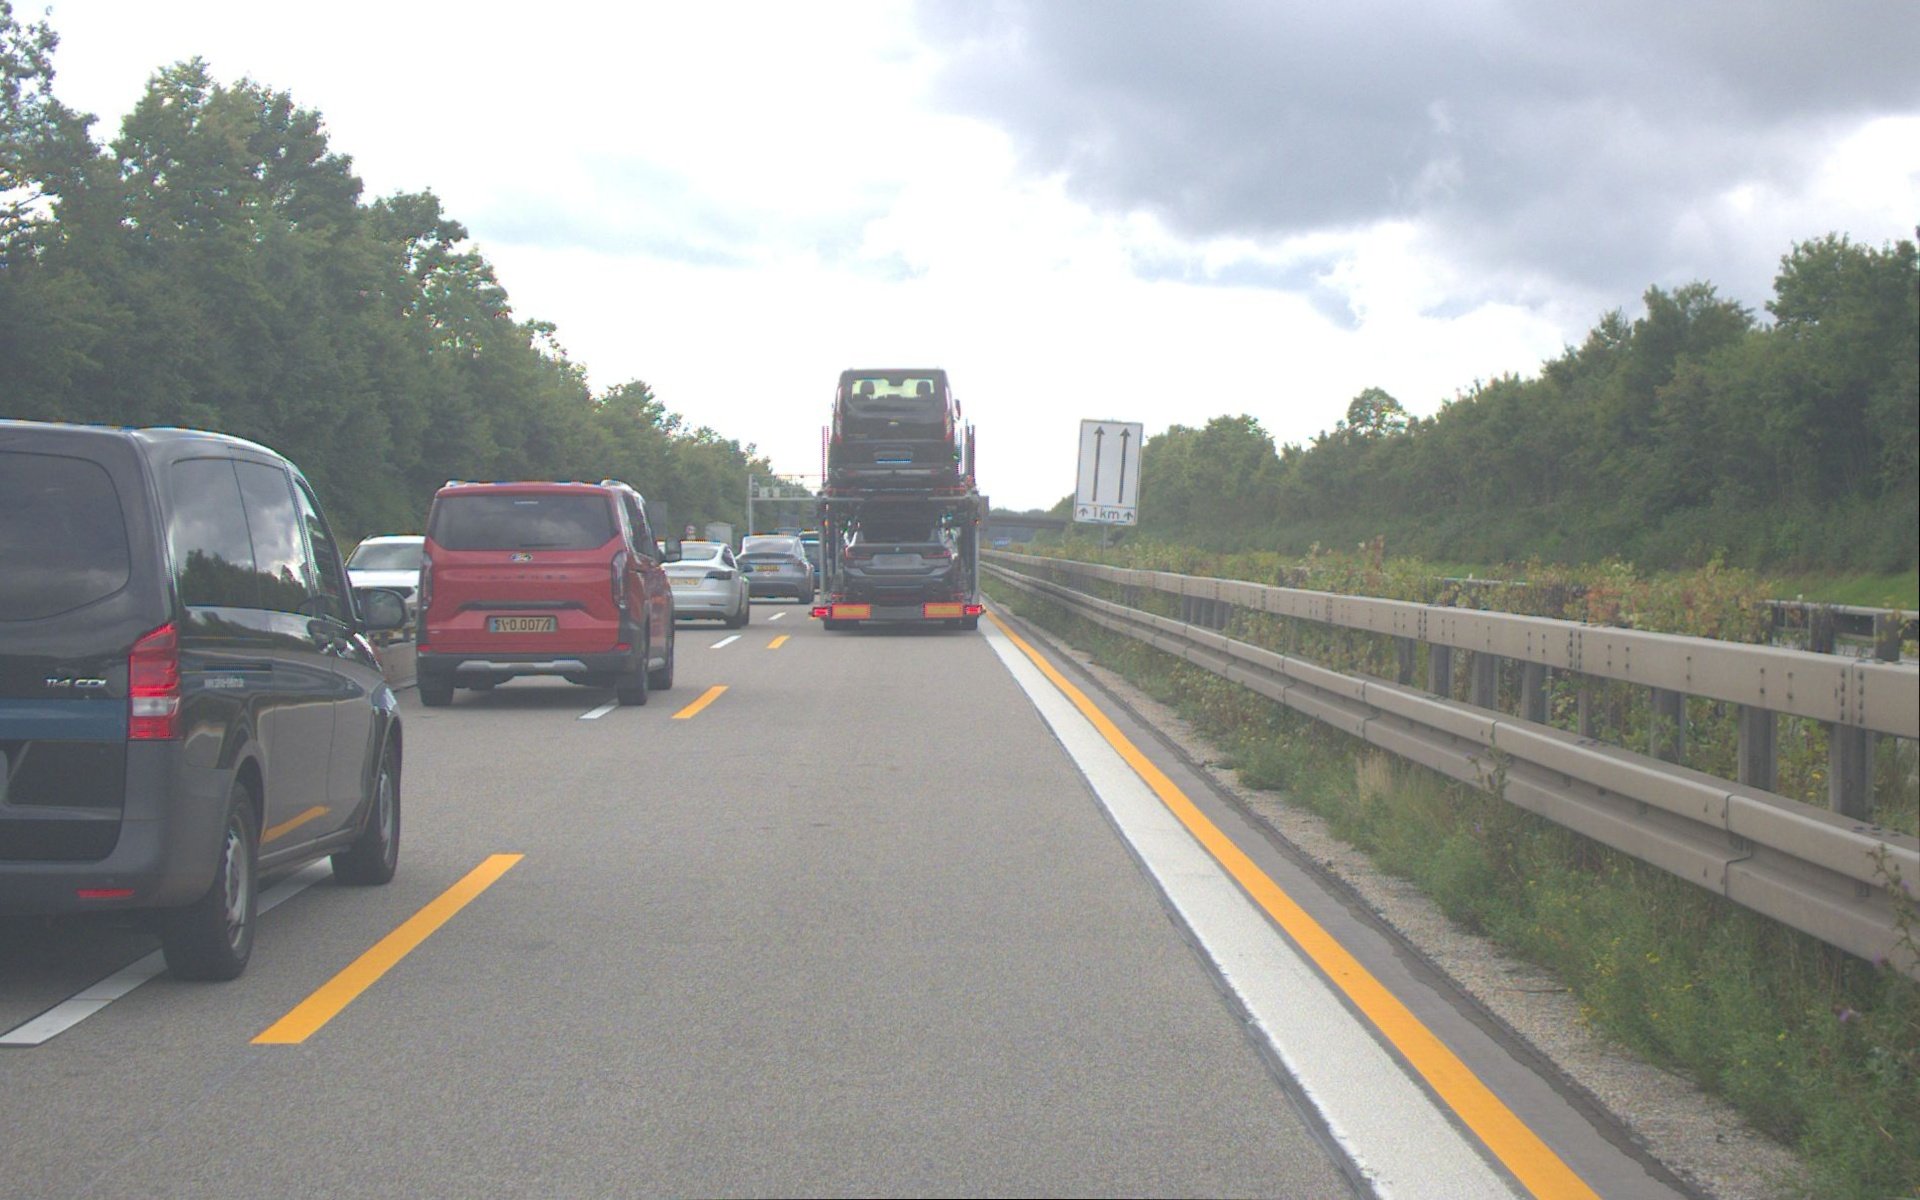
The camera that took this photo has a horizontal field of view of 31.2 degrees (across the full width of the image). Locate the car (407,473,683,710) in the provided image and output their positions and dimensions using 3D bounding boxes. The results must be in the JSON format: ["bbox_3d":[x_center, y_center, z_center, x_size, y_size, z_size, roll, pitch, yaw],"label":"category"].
[{"bbox_3d":[-3.702,-0.113,31.446,2.031,2.007,4.578,0,1,-1],"label":"car"}]

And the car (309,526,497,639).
[{"bbox_3d":[-7.850,-0.280,48.883,1.993,1.515,4.670,0,1,-1],"label":"car"}]

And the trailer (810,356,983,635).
[{"bbox_3d":[-0.947,-1.625,56.135,2.515,4.091,11.114,0,1,0],"label":"trailer"}]

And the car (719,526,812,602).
[{"bbox_3d":[-4.542,-0.864,80.814,2.031,1.751,4.578,0,1,-1],"label":"car"}]

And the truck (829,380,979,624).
[{"bbox_3d":[-0.952,-1.698,60.880,2.515,4.091,5.685,0,1,0],"label":"truck"}]

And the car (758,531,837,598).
[{"bbox_3d":[-4.363,-0.968,92.837,2.031,1.751,4.578,0,1,-2],"label":"car"}]

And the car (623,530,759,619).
[{"bbox_3d":[-4.464,-0.448,57.563,2.031,1.426,4.578,0,1,-1],"label":"car"}]

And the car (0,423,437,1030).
[{"bbox_3d":[-3.402,0.337,13.202,1.993,1.836,5.610,0,1,-1],"label":"car"}]
